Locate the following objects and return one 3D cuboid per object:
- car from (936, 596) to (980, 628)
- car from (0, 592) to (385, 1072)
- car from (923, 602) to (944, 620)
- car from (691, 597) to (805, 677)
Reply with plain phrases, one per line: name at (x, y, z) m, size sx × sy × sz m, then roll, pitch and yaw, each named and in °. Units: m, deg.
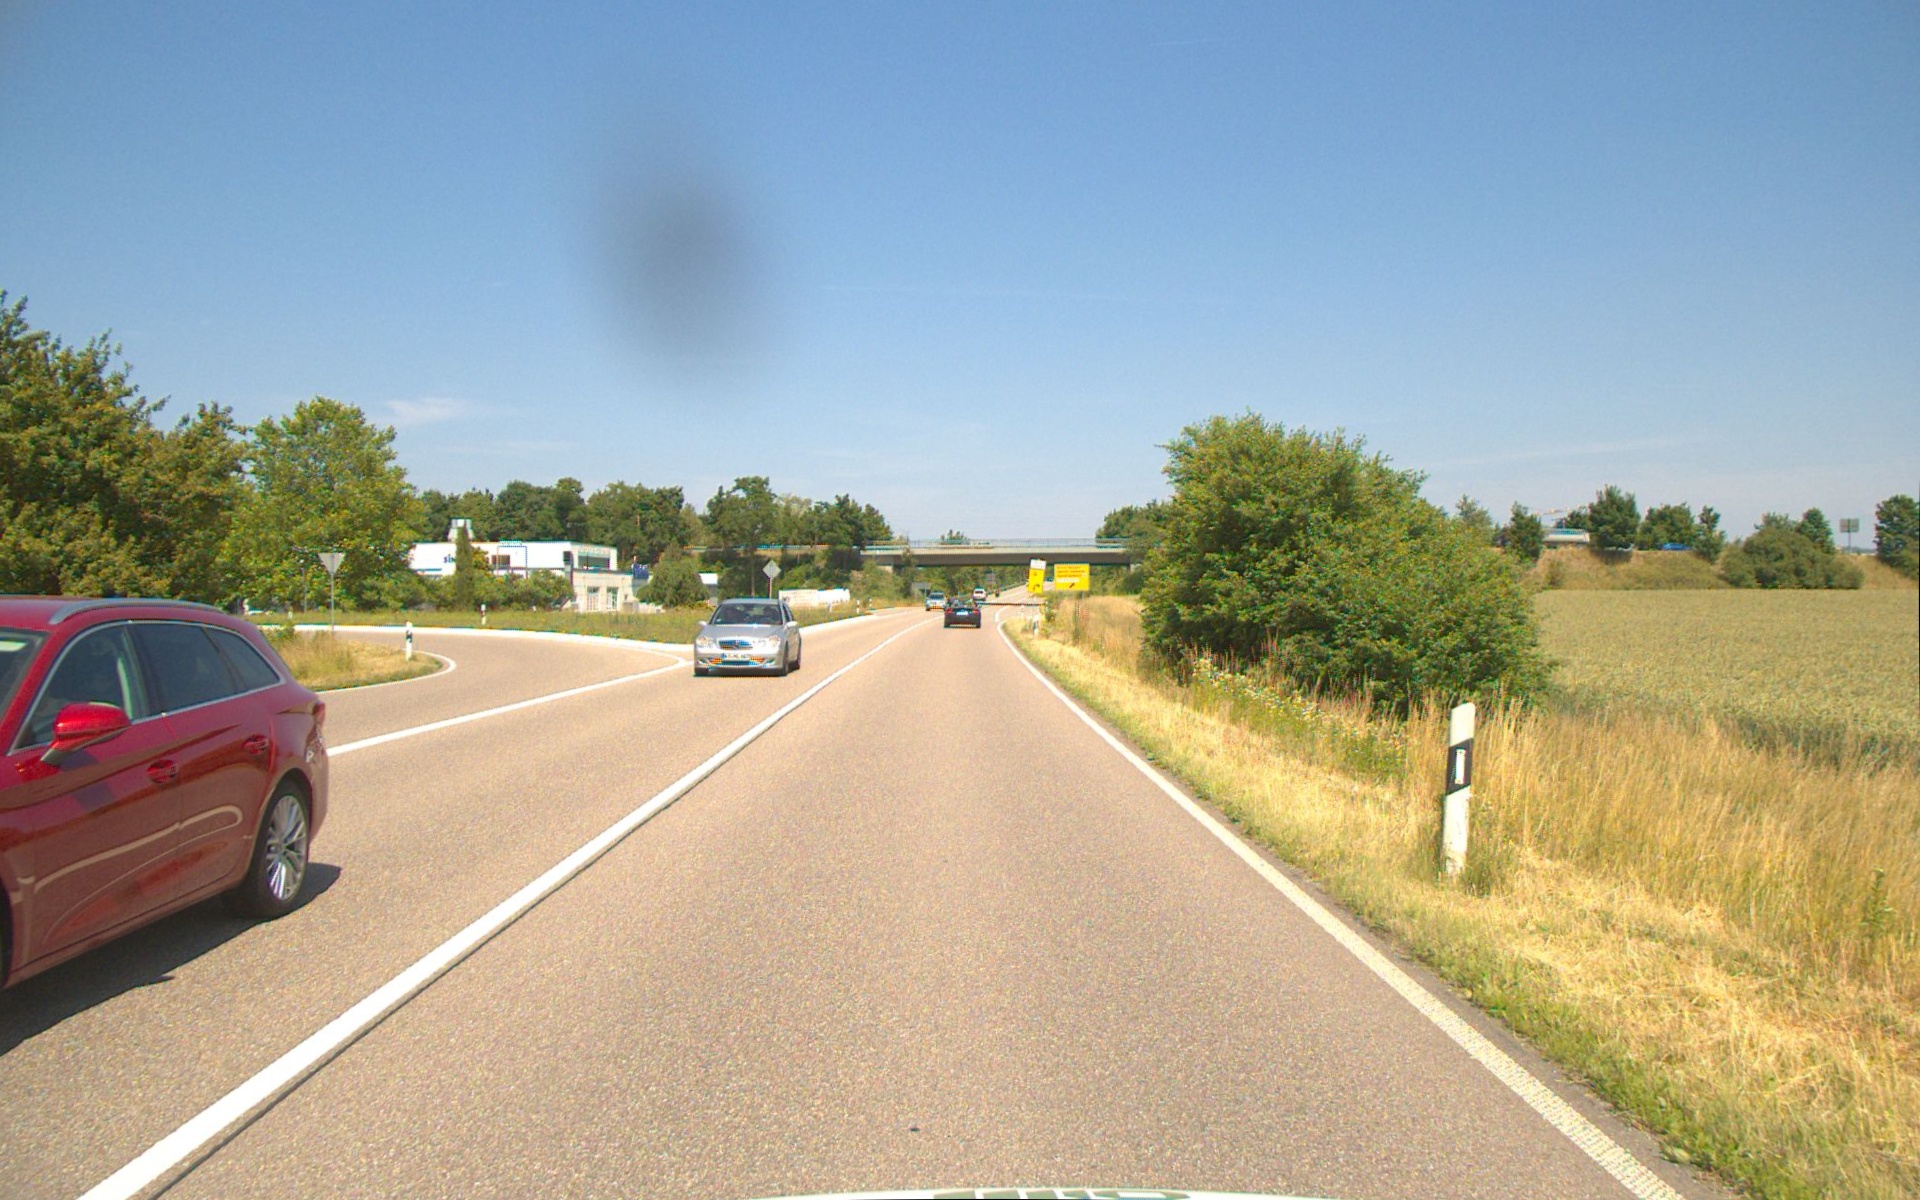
car at (-0.120, 0.552, 78.442) m, size 1.778 × 1.466 × 3.997 m, roll 1°, pitch 0°, yaw -4°
car at (-3.824, 0.702, 6.401) m, size 1.707 × 1.436 × 4.622 m, roll 1°, pitch 0°, yaw -2°
car at (-2.407, 0.980, 149.306) m, size 1.794 × 1.595 × 3.332 m, roll -1°, pitch 0°, yaw -2°
car at (-4.059, 0.677, 32.304) m, size 1.696 × 1.415 × 4.490 m, roll 1°, pitch 0°, yaw -1°
